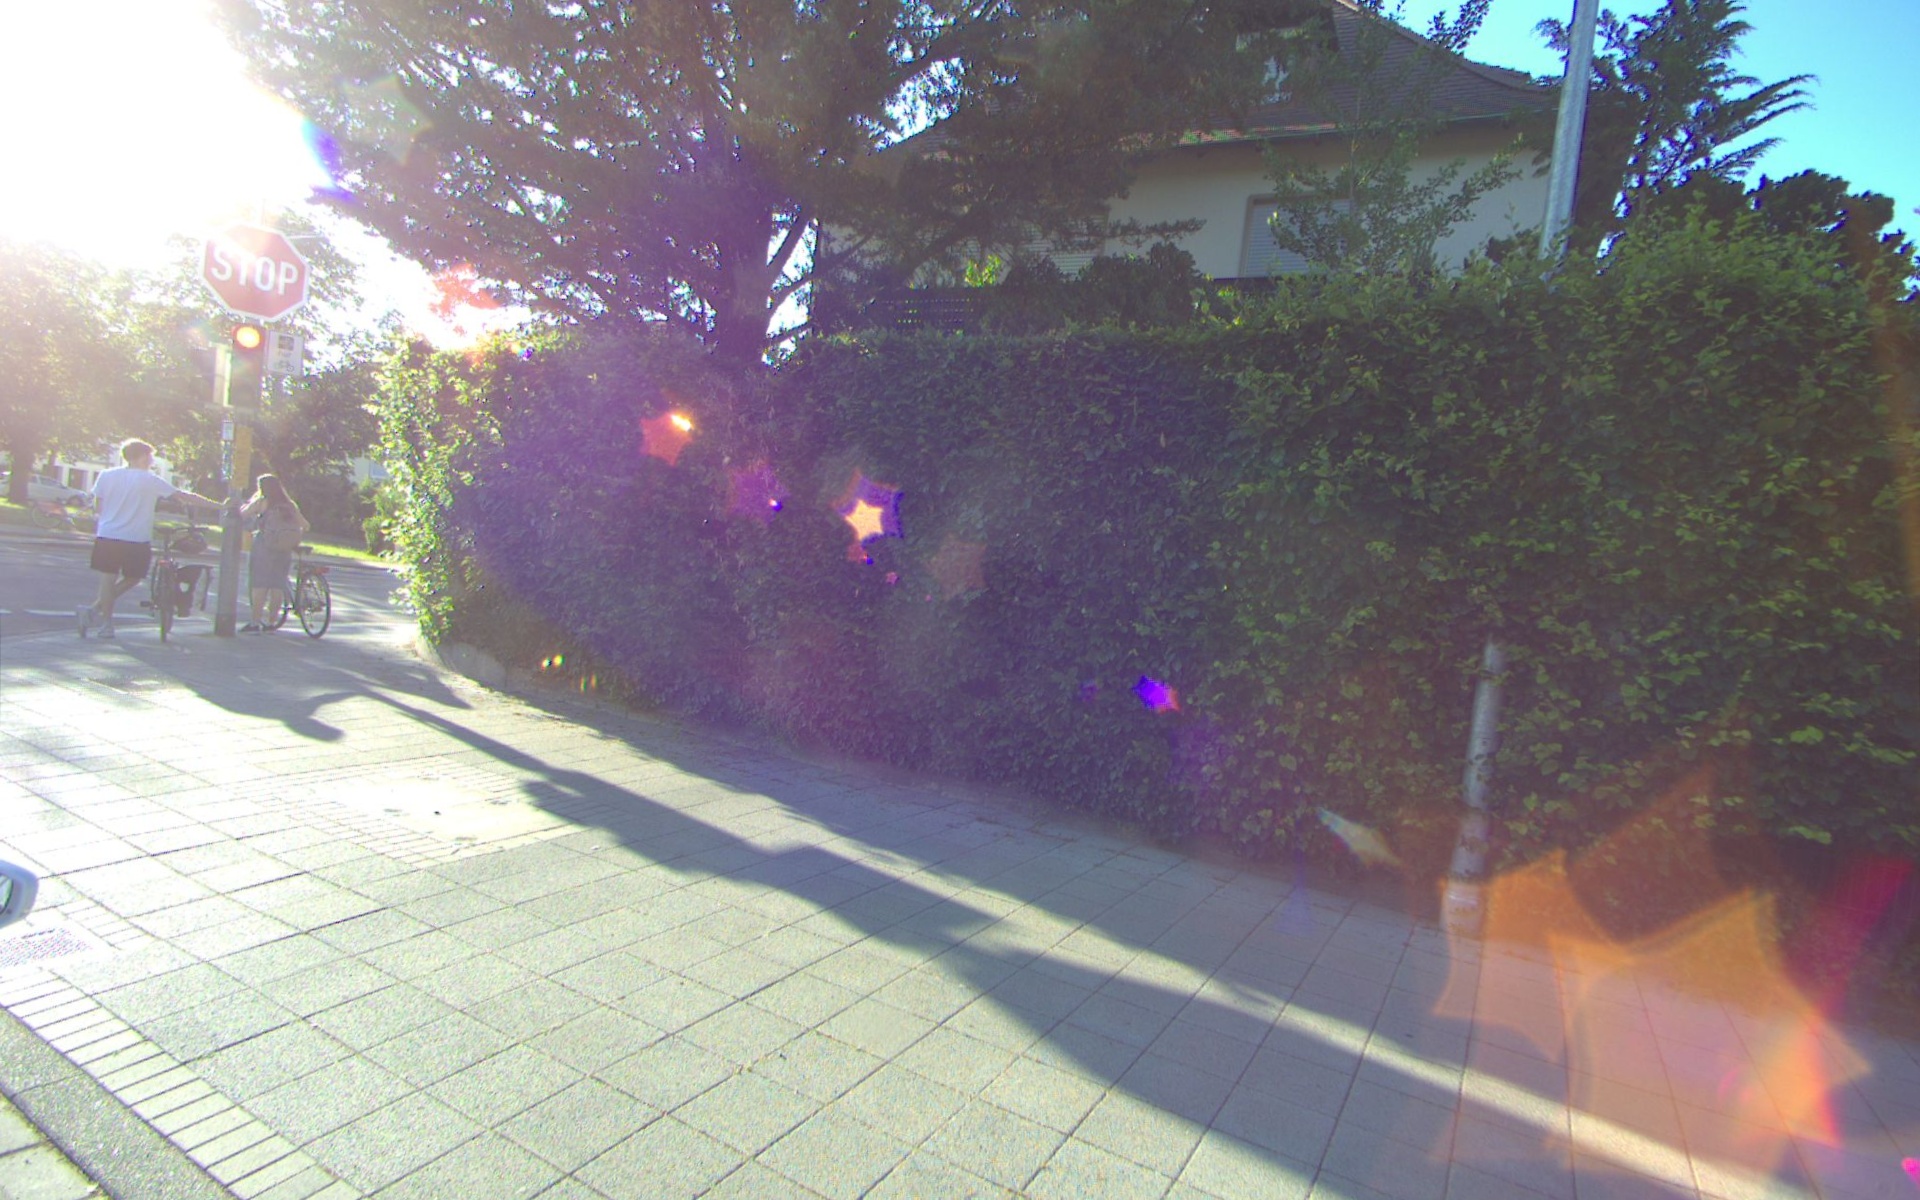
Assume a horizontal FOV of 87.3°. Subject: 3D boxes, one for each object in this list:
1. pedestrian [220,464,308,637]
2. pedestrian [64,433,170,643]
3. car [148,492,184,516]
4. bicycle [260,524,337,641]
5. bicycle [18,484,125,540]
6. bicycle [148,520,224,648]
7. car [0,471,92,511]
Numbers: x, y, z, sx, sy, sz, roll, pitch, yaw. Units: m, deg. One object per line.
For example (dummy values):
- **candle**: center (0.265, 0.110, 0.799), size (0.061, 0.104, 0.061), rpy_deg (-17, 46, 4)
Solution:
- **pedestrian**: center (-7.317, -0.506, 10.569), size (0.665, 1.731, 0.616), rpy_deg (2, 3, -40)
- **pedestrian**: center (-8.023, -0.576, 9.617), size (0.665, 1.892, 0.873), rpy_deg (0, 4, -34)
- **car**: center (-55.187, -6.669, 69.969), size (1.654, 1.435, 3.507), rpy_deg (7, 1, -36)
- **bicycle**: center (-7.147, -0.217, 10.840), size (0.484, 1.158, 1.580), rpy_deg (3, 2, -39)
- **bicycle**: center (-23.213, -2.289, 26.318), size (0.609, 1.146, 1.956), rpy_deg (8, 1, 32)
- **bicycle**: center (-7.631, -0.189, 9.888), size (0.484, 1.112, 1.770), rpy_deg (3, 3, -40)
- **car**: center (-46.401, -5.505, 50.546), size (1.569, 1.445, 3.854), rpy_deg (7, 0, 26)
